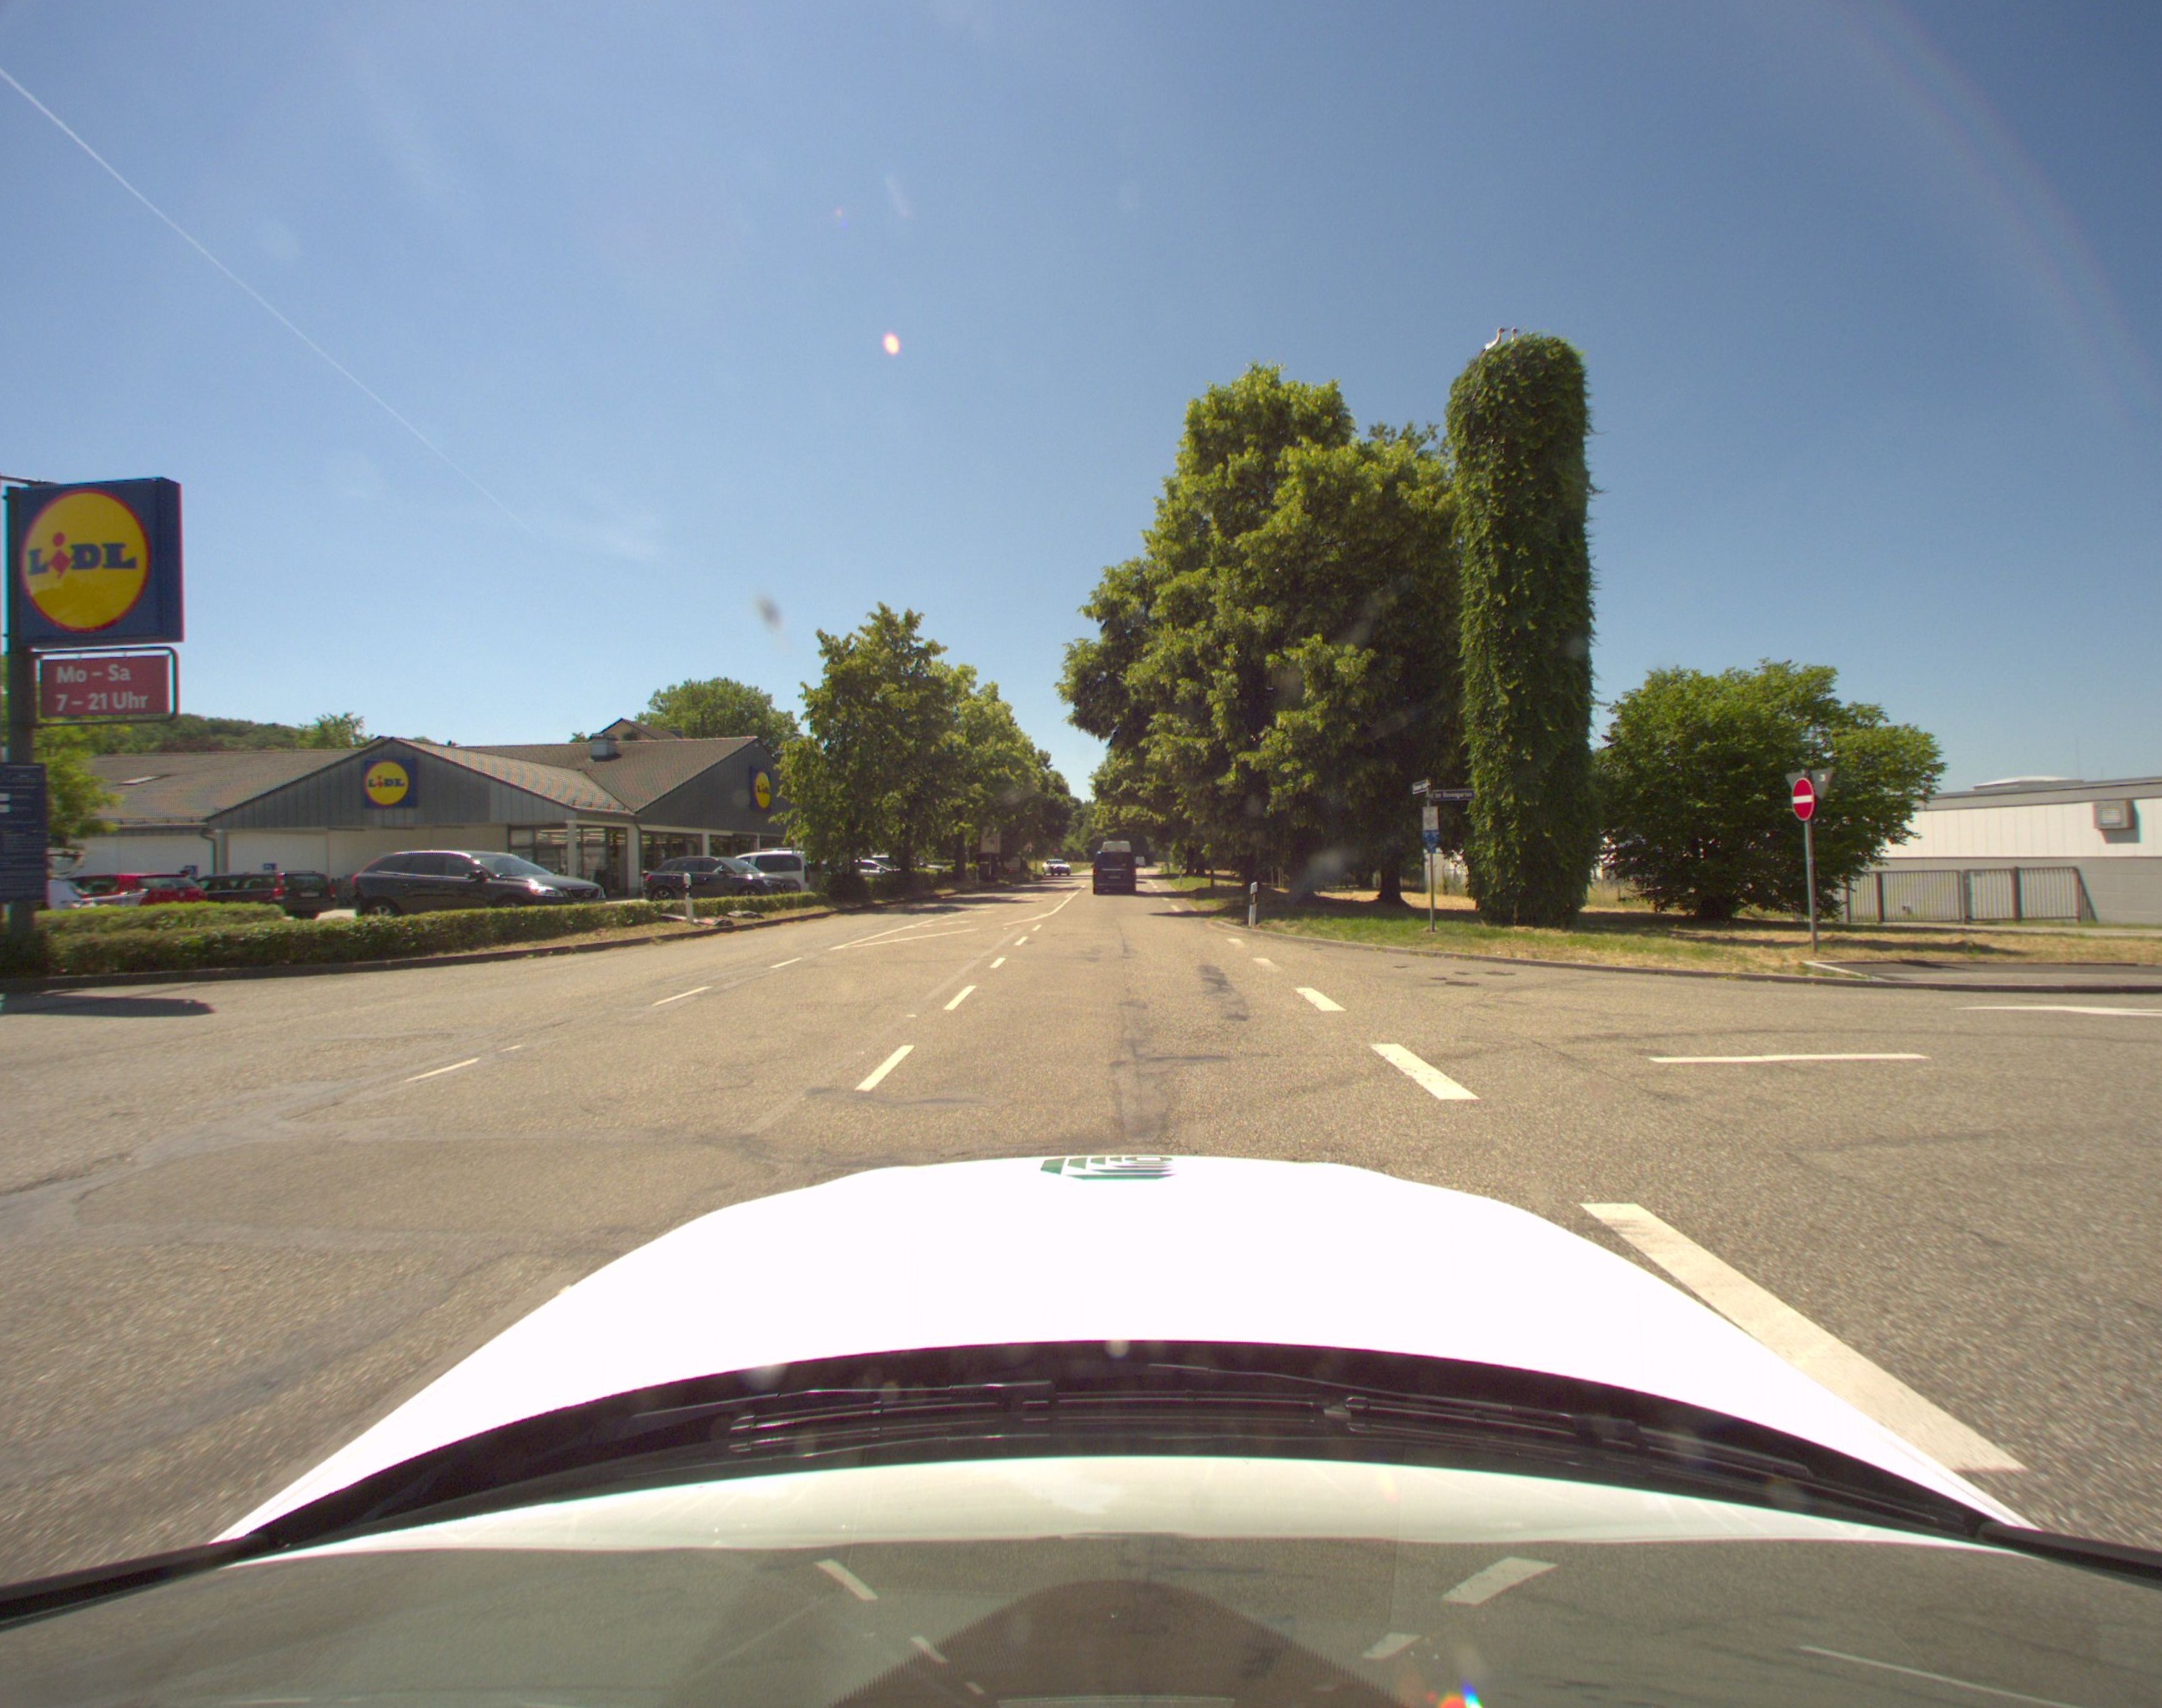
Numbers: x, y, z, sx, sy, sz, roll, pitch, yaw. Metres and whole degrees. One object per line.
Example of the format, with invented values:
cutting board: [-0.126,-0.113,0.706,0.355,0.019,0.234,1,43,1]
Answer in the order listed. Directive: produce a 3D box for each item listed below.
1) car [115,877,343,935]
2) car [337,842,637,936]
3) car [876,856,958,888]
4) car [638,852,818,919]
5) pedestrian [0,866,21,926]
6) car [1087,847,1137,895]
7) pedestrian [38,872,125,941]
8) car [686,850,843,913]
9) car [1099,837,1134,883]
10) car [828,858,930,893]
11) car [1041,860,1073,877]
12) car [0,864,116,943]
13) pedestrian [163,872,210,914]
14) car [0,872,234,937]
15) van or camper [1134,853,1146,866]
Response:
car: [-23.567,1.411,22.663,4.300,1.530,1.826,0,-1,-2]
car: [-11.900,0.680,16.517,4.683,1.762,2.102,0,-1,7]
car: [-9.679,1.072,48.319,4.384,1.776,2.073,1,-1,1]
car: [-10.312,0.895,23.999,4.360,1.845,2.108,0,-1,8]
pedestrian: [-33.142,1.282,24.946,0.762,1.806,0.758,0,-2,36]
car: [1.456,0.745,36.204,1.984,1.953,5.011,1,-1,5]
pedestrian: [-22.145,1.137,18.070,0.891,1.483,0.803,1,-1,-20]
car: [-10.290,0.879,26.718,4.342,1.980,1.905,0,-1,0]
car: [2.310,0.396,51.928,2.069,2.703,4.670,1,-1,3]
car: [-9.750,1.031,39.543,4.384,1.620,1.895,1,-1,1]
car: [-2.429,1.409,81.779,2.100,1.588,4.447,1,-1,-18]
car: [-24.846,1.057,18.030,4.300,1.655,2.113,0,-1,-1]
pedestrian: [-32.993,1.439,30.043,0.797,1.514,0.796,0,-1,-12]
car: [-24.398,1.231,20.391,4.300,1.530,1.826,0,-1,-2]
van or camper: [13.523,1.255,186.992,2.620,2.929,5.211,0,-1,4]
